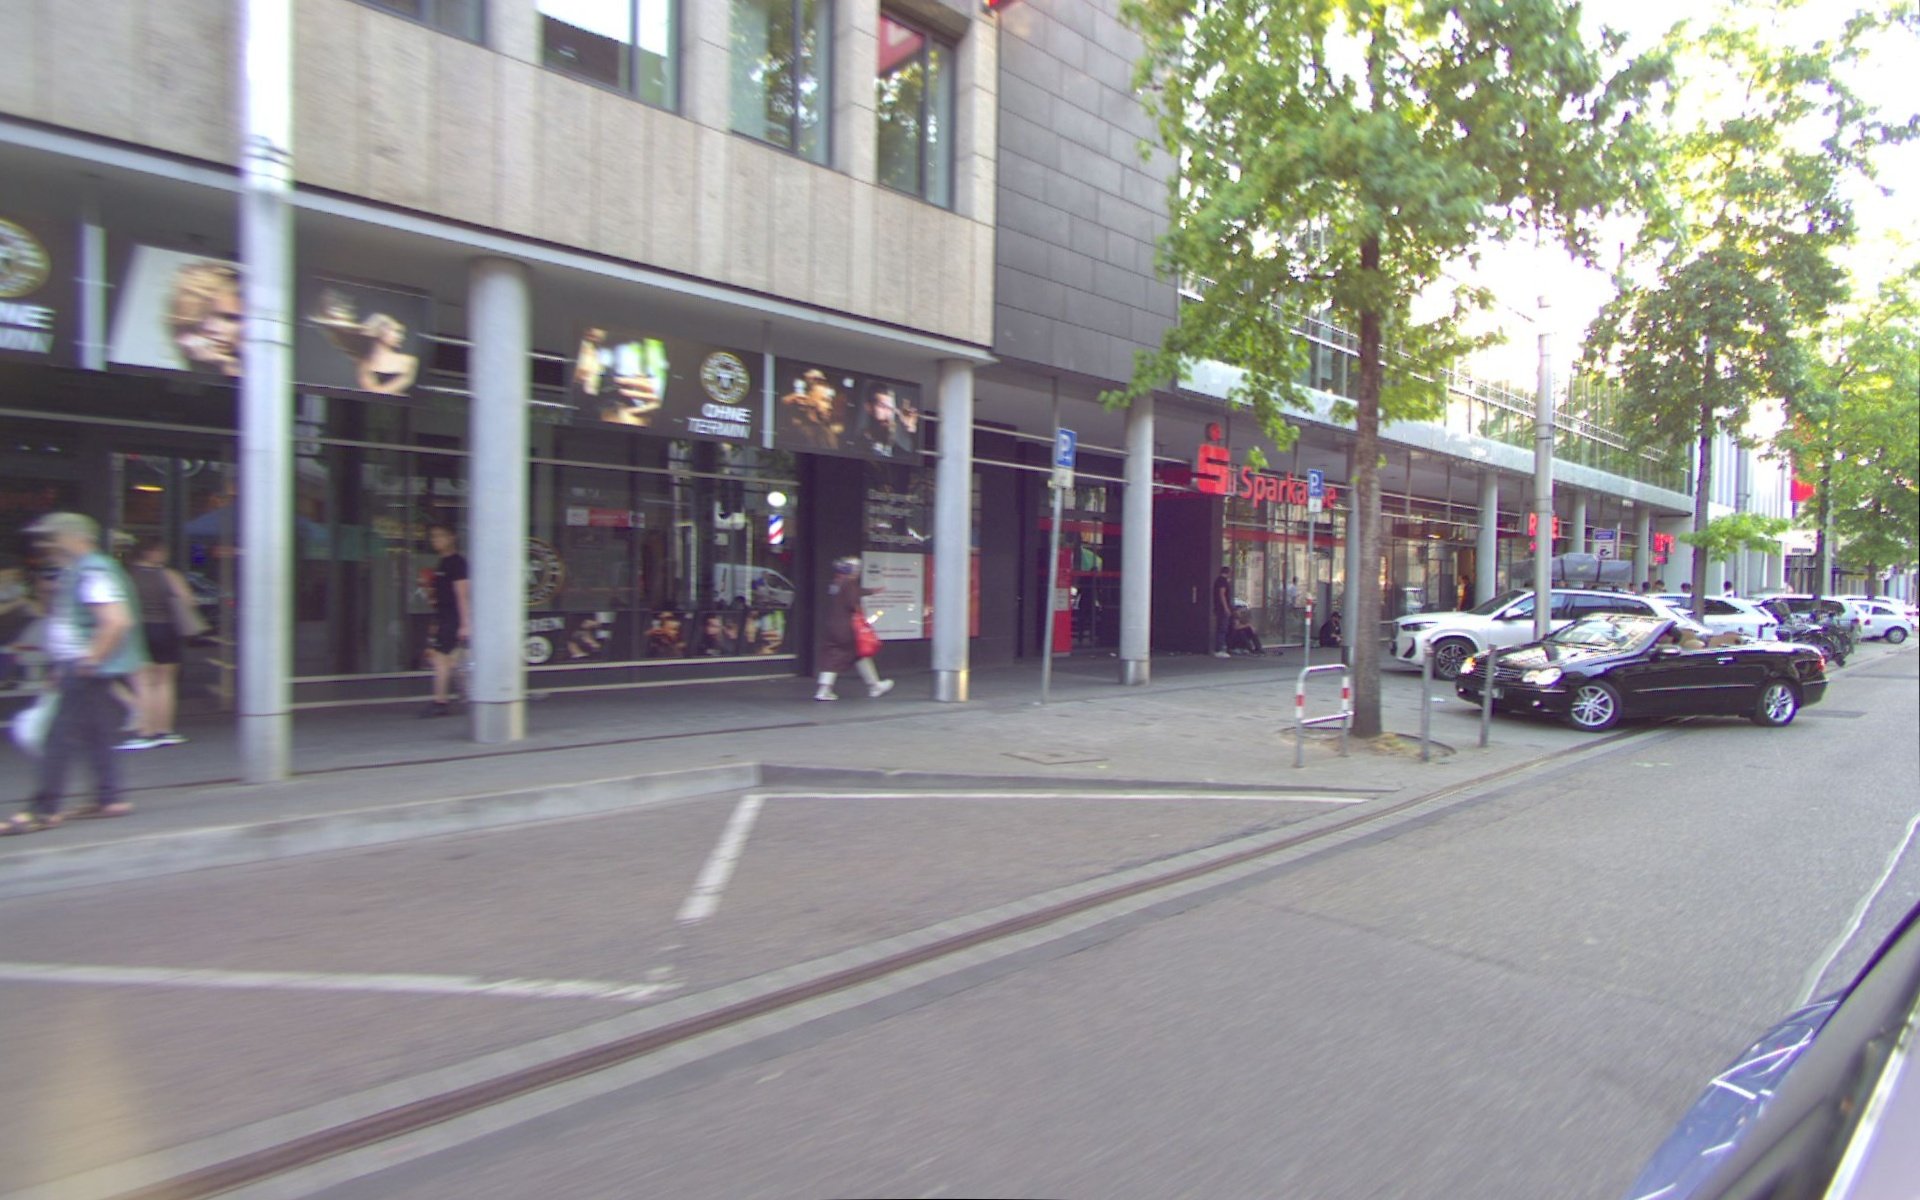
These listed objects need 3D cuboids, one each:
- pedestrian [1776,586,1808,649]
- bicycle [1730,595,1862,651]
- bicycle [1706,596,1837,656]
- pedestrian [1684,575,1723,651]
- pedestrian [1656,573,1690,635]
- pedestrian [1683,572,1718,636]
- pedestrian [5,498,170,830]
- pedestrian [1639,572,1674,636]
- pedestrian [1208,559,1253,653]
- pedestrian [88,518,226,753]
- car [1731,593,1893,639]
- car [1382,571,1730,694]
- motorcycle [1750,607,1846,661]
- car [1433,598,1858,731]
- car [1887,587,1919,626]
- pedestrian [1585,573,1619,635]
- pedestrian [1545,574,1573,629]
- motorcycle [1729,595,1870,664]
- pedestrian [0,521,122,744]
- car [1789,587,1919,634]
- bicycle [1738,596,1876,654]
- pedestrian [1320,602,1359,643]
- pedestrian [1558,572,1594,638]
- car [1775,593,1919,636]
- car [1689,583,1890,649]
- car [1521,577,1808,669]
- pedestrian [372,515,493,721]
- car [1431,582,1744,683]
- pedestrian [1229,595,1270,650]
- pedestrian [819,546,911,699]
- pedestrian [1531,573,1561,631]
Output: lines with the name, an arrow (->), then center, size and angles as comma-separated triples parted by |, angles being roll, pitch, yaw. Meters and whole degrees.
pedestrian -> 23.322, 0.482, 28.364 | 0.616, 1.712, 0.618 | 1, 1, 44
bicycle -> 22.688, 0.630, 27.529 | 2.643, 1.475, 0.671 | -1, -1, 23
bicycle -> 20.521, 0.664, 25.669 | 2.461, 1.475, 0.652 | -1, -1, 24
pedestrian -> 18.146, 0.306, 24.699 | 0.617, 1.822, 0.617 | 0, 2, -41
pedestrian -> 19.953, 0.096, 28.315 | 0.617, 1.712, 0.617 | 0, 2, -41
pedestrian -> 20.540, 0.100, 28.071 | 0.617, 1.712, 0.617 | 0, 2, -41
pedestrian -> -4.618, 0.308, 5.368 | 0.627, 1.608, 0.669 | 0, 0, -42
pedestrian -> 19.092, 0.106, 27.742 | 0.617, 1.712, 0.617 | 0, 2, -41
pedestrian -> 5.262, 0.107, 19.688 | 0.617, 1.794, 0.557 | 0, 2, -41
pedestrian -> -6.096, 0.236, 7.684 | 0.775, 1.664, 0.682 | 0, 2, -43
car -> 30.214, 0.570, 36.045 | 3.948, 1.530, 1.789 | -1, -1, 19
car -> 9.649, 0.472, 16.855 | 4.575, 1.650, 1.908 | 3, 1, 17
motorcycle -> 19.540, 0.785, 23.639 | 1.555, 1.113, 0.624 | 3, 2, 24
car -> 8.438, 0.720, 12.576 | 4.469, 1.426, 1.803 | 0, -1, -13
car -> 46.997, 0.266, 48.316 | 3.919, 1.809, 1.867 | -1, -1, -7
pedestrian -> 18.081, 0.093, 28.492 | 0.617, 1.712, 0.617 | 0, 2, -41
pedestrian -> 18.730, 0.039, 31.640 | 0.617, 1.712, 0.557 | 0, 2, -41
motorcycle -> 18.608, 0.643, 22.481 | 2.071, 1.370, 1.157 | 2, 2, 0
pedestrian -> -7.182, 0.224, 8.017 | 0.805, 1.664, 0.711 | 0, 2, -43
car -> 36.546, 0.434, 41.133 | 3.957, 1.809, 1.849 | -1, -1, 25
bicycle -> 22.130, 0.648, 26.513 | 2.642, 1.475, 0.724 | -1, -1, 22
pedestrian -> 8.685, 0.499, 23.176 | 0.548, 0.892, 0.627 | 0, 2, -42
pedestrian -> 16.236, 0.124, 26.661 | 0.617, 1.712, 0.617 | 0, 2, -41
car -> 33.297, 0.540, 37.810 | 3.948, 1.530, 1.853 | -1, -1, 19
car -> 25.490, 0.512, 31.270 | 4.397, 1.904, 1.794 | -1, -1, 12
car -> 14.937, 0.434, 21.757 | 4.570, 1.607, 1.910 | 3, 2, 14
pedestrian -> -4.883, 0.139, 9.370 | 0.849, 1.794, 0.674 | 0, 2, -43
car -> 11.423, 0.514, 18.860 | 4.583, 1.457, 1.905 | 3, 3, 22
pedestrian -> 5.875, 0.446, 20.544 | 0.625, 1.048, 0.550 | 2, 2, 40
pedestrian -> -1.085, 0.230, 11.500 | 0.728, 1.664, 0.749 | 0, 2, -42
pedestrian -> 17.553, 0.061, 30.320 | 0.617, 1.712, 0.557 | 0, 2, -41
